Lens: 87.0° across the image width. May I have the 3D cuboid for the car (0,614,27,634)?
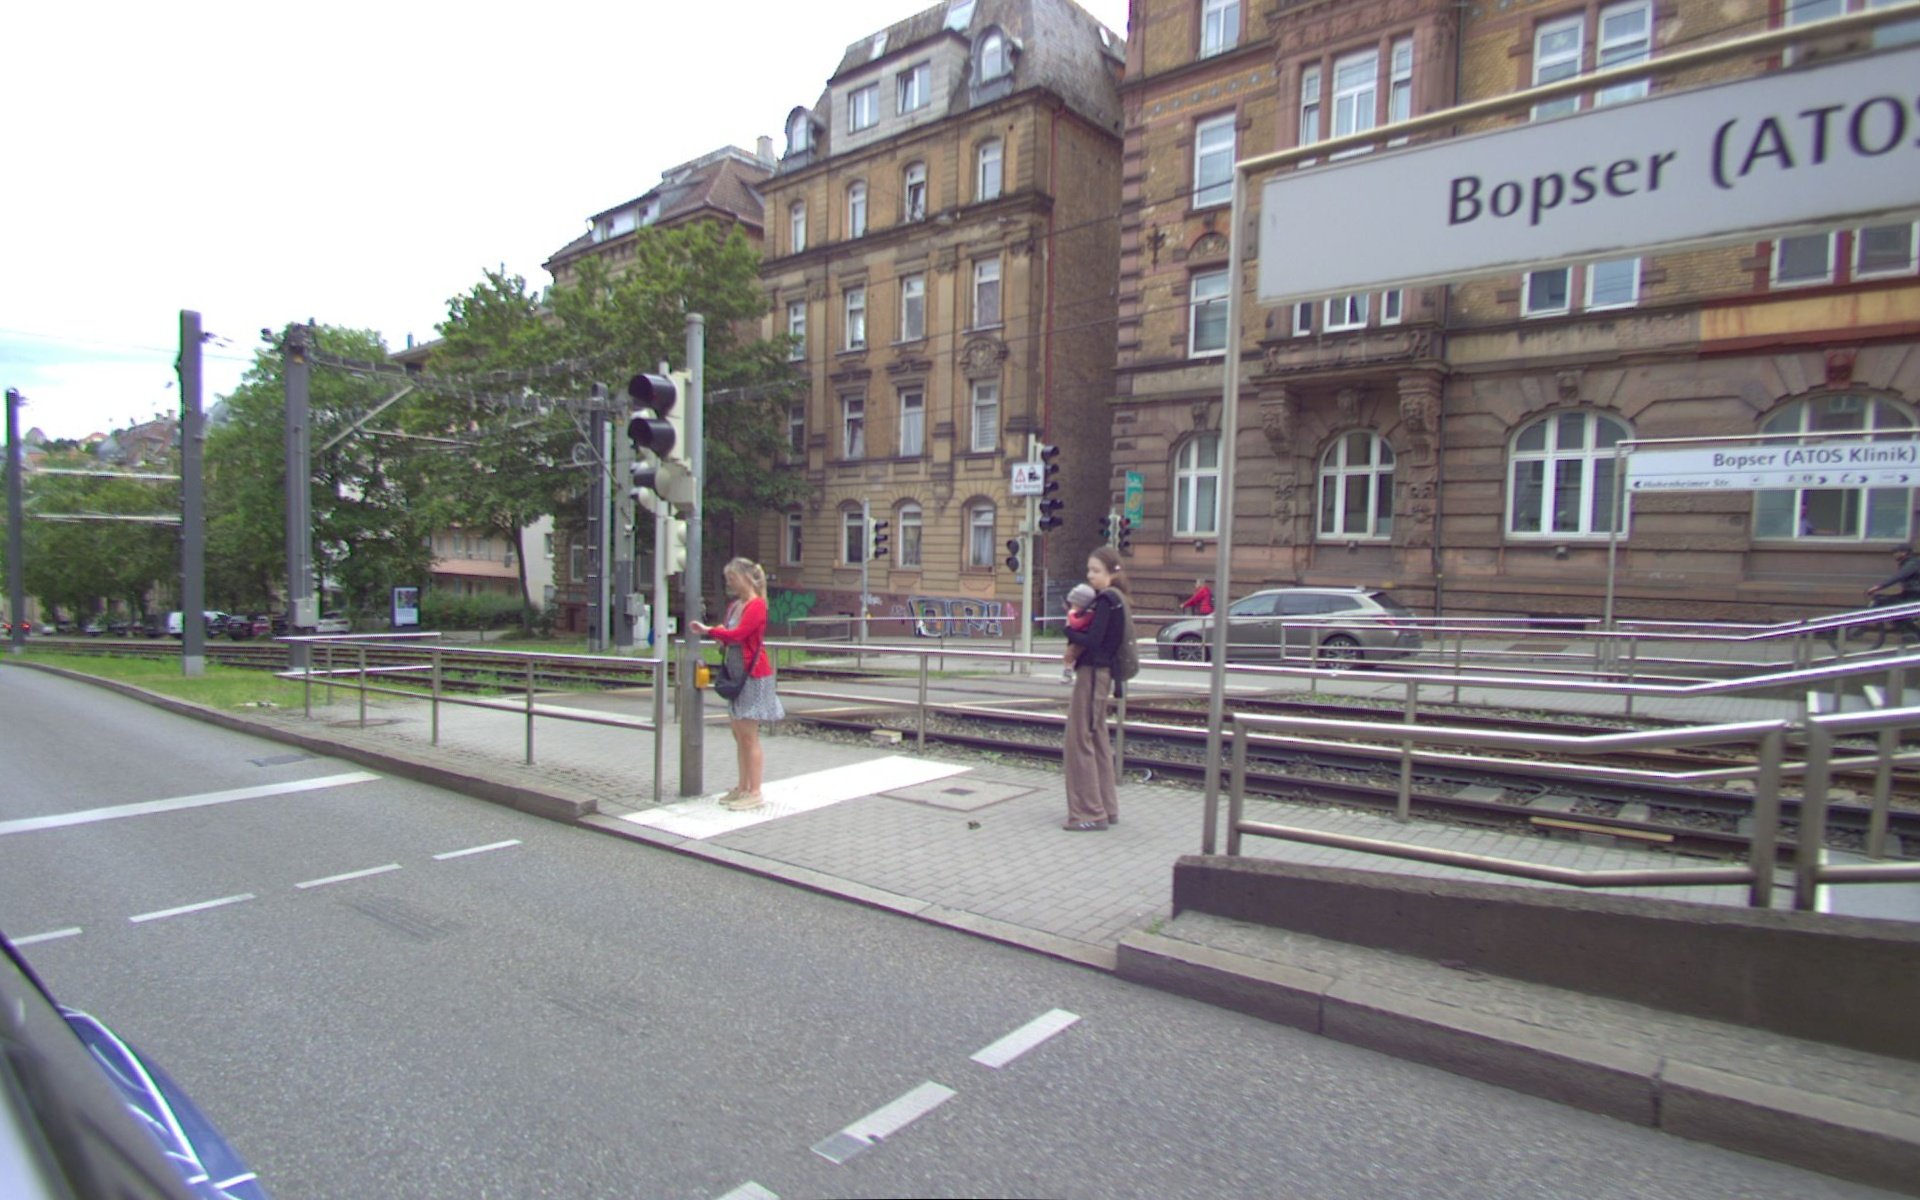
[{"bbox_3d":[-100.564,2.531,106.973,3.990,2.029,1.977,-2,0,35],"label":"car"}]

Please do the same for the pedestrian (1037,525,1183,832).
[{"bbox_3d":[0.910,0.438,6.078,0.658,1.708,0.616,-1,0,31],"label":"pedestrian"}]

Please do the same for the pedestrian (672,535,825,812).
[{"bbox_3d":[-1.392,0.449,6.670,0.684,1.693,0.672,-1,0,38],"label":"pedestrian"}]

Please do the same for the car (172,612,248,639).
[{"bbox_3d":[-50.556,1.715,68.306,1.769,1.700,3.836,-1,0,17],"label":"car"}]

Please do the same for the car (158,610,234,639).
[{"bbox_3d":[-52.388,1.662,69.483,1.769,1.828,3.836,-1,0,17],"label":"car"}]

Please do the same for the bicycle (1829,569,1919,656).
[{"bbox_3d":[14.858,0.177,15.380,2.421,1.293,0.766,-1,1,36],"label":"bicycle"}]

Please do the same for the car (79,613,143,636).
[{"bbox_3d":[-73.803,2.123,88.022,1.774,1.828,3.825,-1,0,25],"label":"car"}]

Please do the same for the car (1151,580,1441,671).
[{"bbox_3d":[5.921,0.441,18.134,4.554,1.429,1.864,-2,0,39],"label":"car"}]

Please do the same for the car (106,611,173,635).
[{"bbox_3d":[-66.966,1.889,82.634,1.774,1.828,3.825,-1,0,25],"label":"car"}]

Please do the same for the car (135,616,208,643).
[{"bbox_3d":[-58.482,2.141,75.121,1.774,1.827,3.825,-1,1,25],"label":"car"}]

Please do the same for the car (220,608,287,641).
[{"bbox_3d":[-42.621,1.445,61.144,1.756,1.700,3.866,-1,2,-9],"label":"car"}]

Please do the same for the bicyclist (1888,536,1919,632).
[{"bbox_3d":[14.798,-0.253,15.389,0.905,1.438,0.761,-1,0,37],"label":"bicyclist"}]

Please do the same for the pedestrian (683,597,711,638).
[{"bbox_3d":[-9.935,0.653,38.229,0.740,1.524,0.681,-1,0,42],"label":"pedestrian"}]

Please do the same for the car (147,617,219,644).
[{"bbox_3d":[-56.506,2.180,73.661,1.774,1.828,3.825,-1,0,25],"label":"car"}]

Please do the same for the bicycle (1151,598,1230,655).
[{"bbox_3d":[5.160,0.590,22.701,1.602,1.232,0.617,-2,-1,44],"label":"bicycle"}]

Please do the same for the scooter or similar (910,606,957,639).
[{"bbox_3d":[-0.819,0.685,30.813,0.423,0.949,1.588,-1,-1,-44],"label":"scooter or similar"}]

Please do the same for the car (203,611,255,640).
[{"bbox_3d":[-46.920,1.590,65.012,1.754,1.700,3.871,-1,1,-21],"label":"car"}]

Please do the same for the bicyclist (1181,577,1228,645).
[{"bbox_3d":[5.461,0.242,22.607,0.812,1.491,0.611,-2,-1,43],"label":"bicyclist"}]

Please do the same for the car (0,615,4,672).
[{"bbox_3d":[-26.036,1.171,25.669,4.224,1.408,1.975,-2,1,39],"label":"car"}]

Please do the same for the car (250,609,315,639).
[{"bbox_3d":[-40.138,1.404,60.043,1.756,1.700,3.866,-1,0,-10],"label":"car"}]

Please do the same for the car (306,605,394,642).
[{"bbox_3d":[-31.007,1.167,51.576,1.764,1.700,3.848,-1,1,8],"label":"car"}]

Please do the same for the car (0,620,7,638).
[{"bbox_3d":[-110.438,3.299,115.596,3.999,2.029,1.972,-2,0,42],"label":"car"}]

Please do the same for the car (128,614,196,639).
[{"bbox_3d":[-62.618,2.079,79.462,1.774,1.828,3.825,-1,0,25],"label":"car"}]

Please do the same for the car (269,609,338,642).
[{"bbox_3d":[-35.775,1.359,55.287,1.756,1.700,3.866,-1,0,-10],"label":"car"}]
